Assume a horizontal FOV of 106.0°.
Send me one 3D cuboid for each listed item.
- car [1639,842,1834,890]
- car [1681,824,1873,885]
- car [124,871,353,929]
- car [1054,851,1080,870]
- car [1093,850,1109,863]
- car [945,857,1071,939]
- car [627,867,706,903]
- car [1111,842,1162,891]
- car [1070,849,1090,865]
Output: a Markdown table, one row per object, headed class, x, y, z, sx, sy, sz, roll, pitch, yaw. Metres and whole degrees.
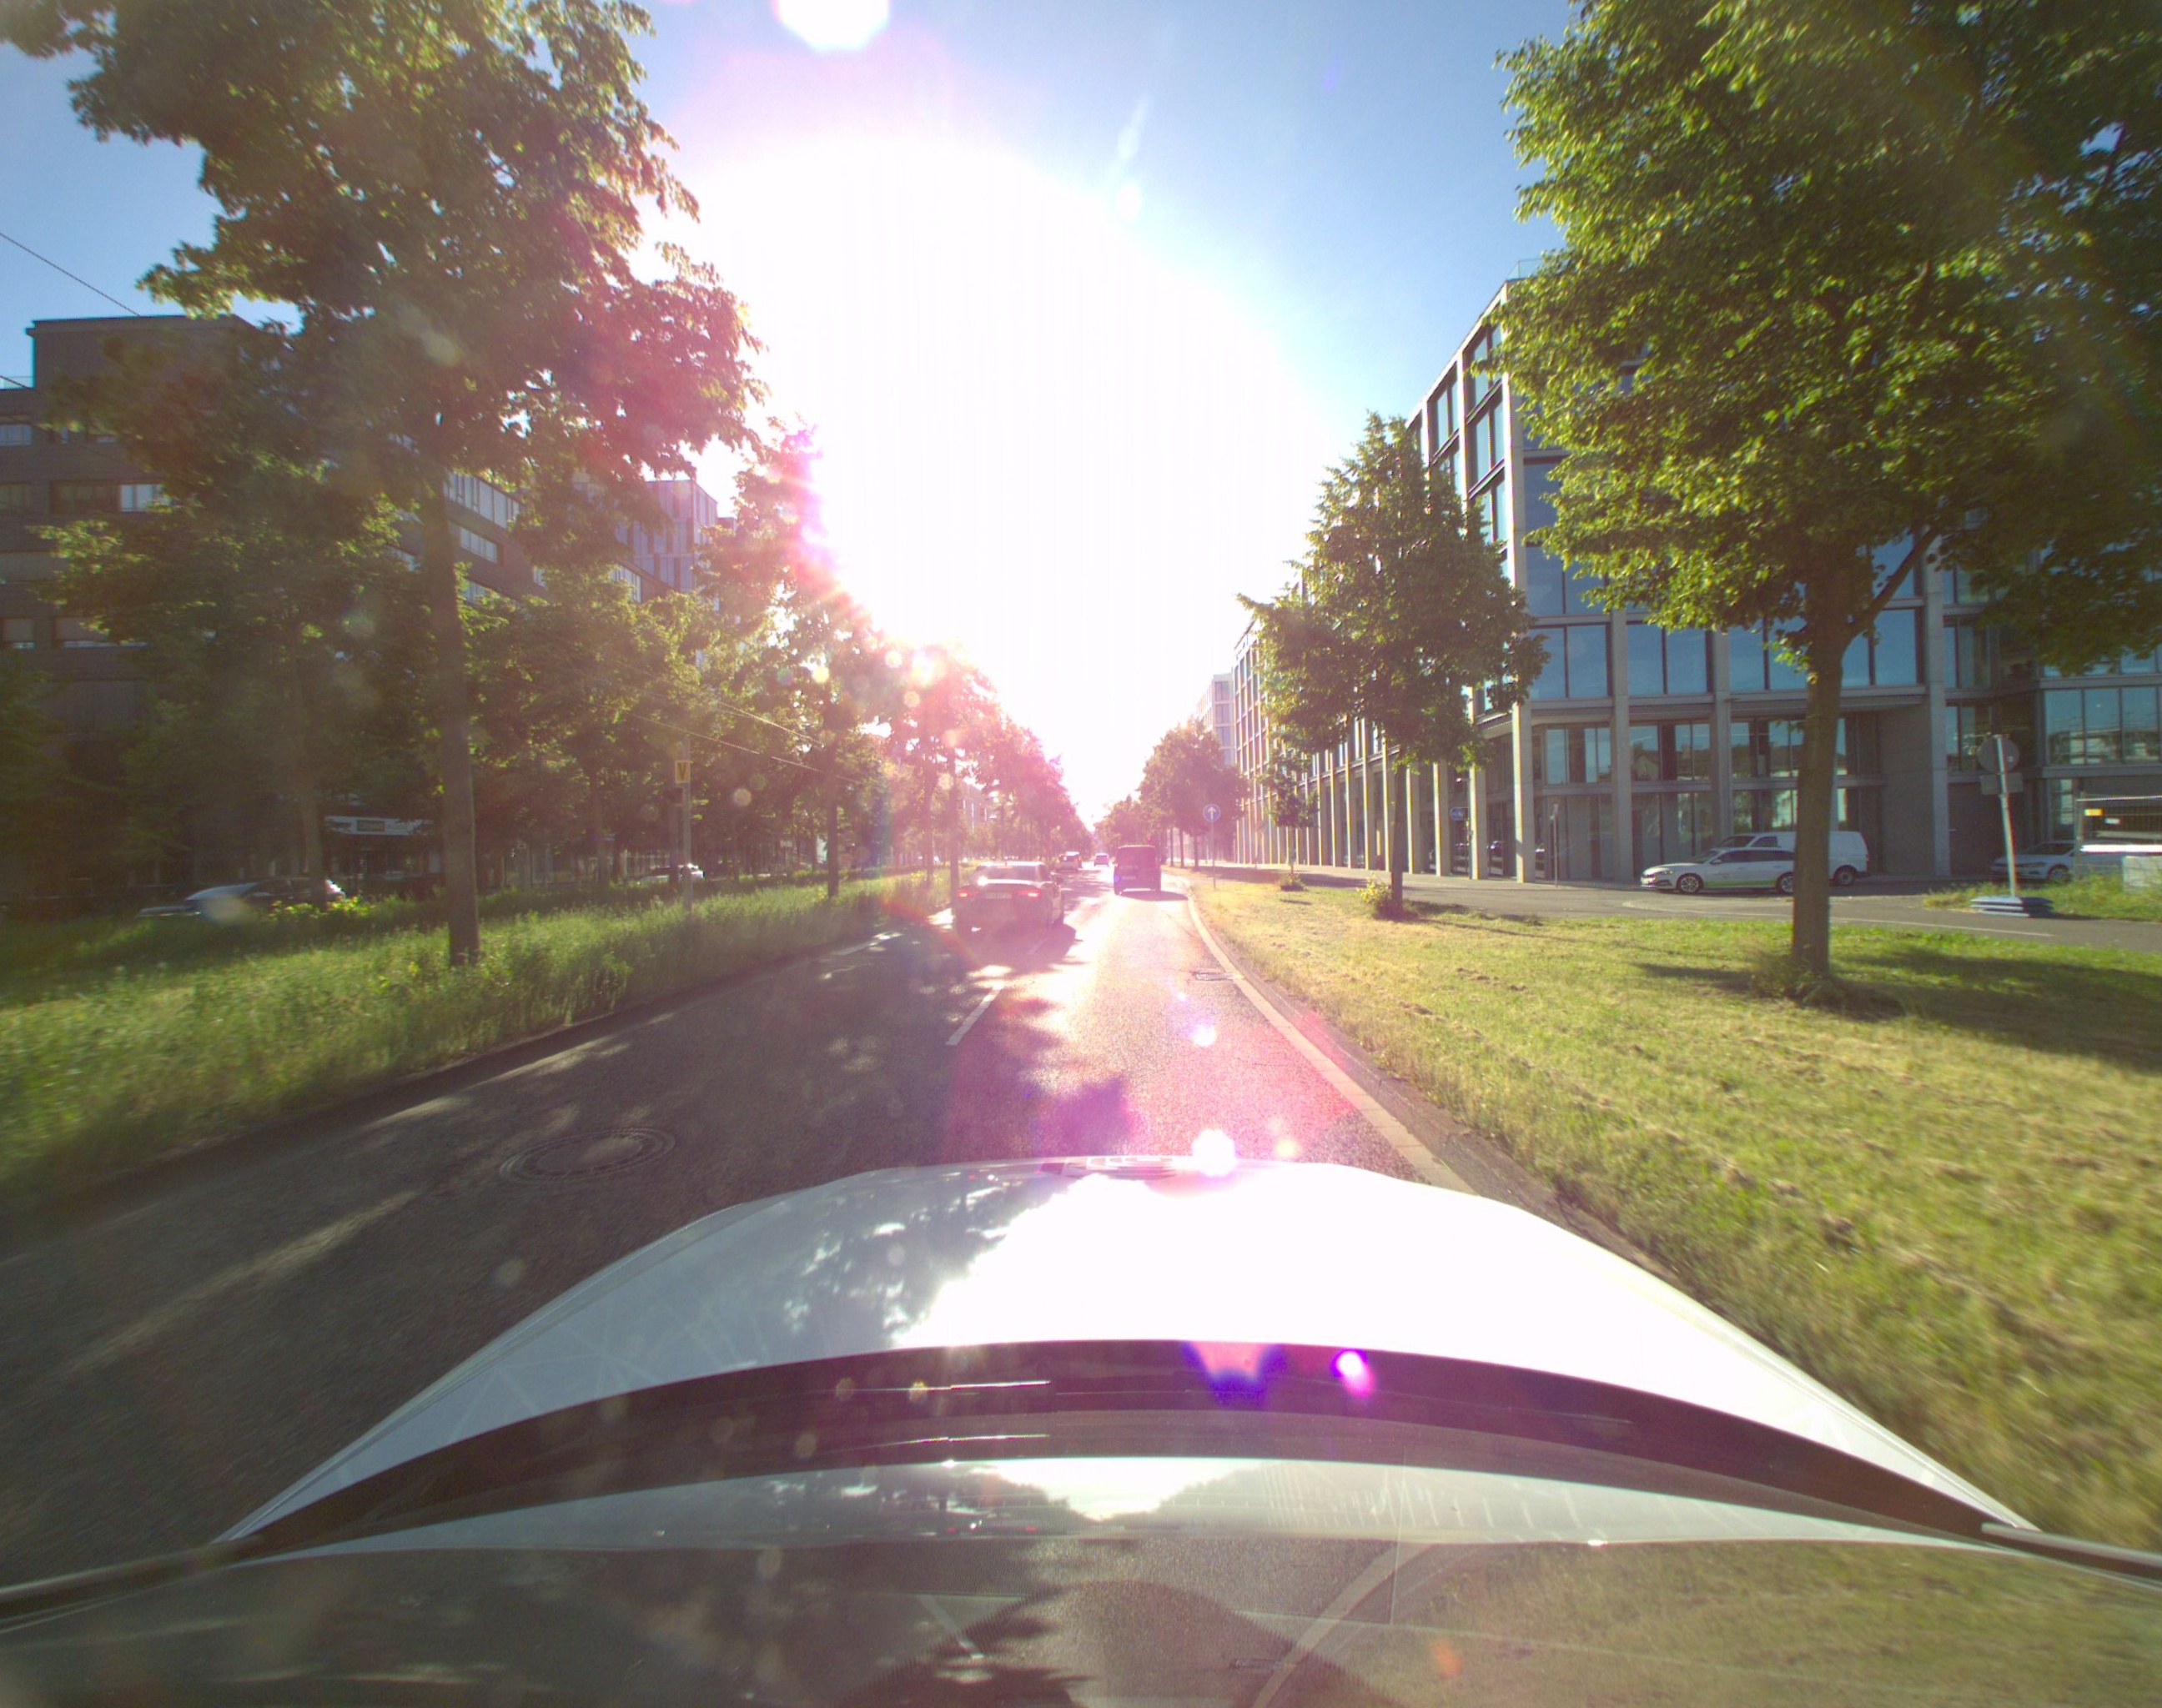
| class | x | y | z | sx | sy | sz | roll | pitch | yaw |
| --- | --- | --- | --- | --- | --- | --- | --- | --- | --- |
| car | 20.564 | 0.358 | 25.765 | 4.480 | 1.393 | 1.780 | 1 | -1 | 15 |
| car | 24.707 | 0.020 | 29.070 | 5.043 | 1.981 | 1.941 | -1 | 0 | 4 |
| car | -21.961 | 1.146 | 21.506 | 1.791 | 1.263 | 4.001 | -1 | 0 | 1 |
| car | -1.079 | 0.505 | 64.690 | 1.936 | 1.441 | 3.999 | -1 | 0 | -1 |
| car | 2.266 | 0.240 | 90.858 | 1.715 | 1.425 | 3.817 | -1 | 0 | 1 |
| car | -1.305 | 0.776 | 16.202 | 1.712 | 1.366 | 4.152 | -1 | 0 | 6 |
| car | -21.511 | 1.574 | 42.473 | 1.791 | 1.688 | 4.322 | 0 | 1 | 1 |
| car | 2.095 | 0.435 | 31.472 | 1.791 | 1.777 | 4.001 | 0 | 0 | 1 |
| car | -0.049 | 0.278 | 83.363 | 1.835 | 1.534 | 3.942 | -1 | 0 | 3 |
